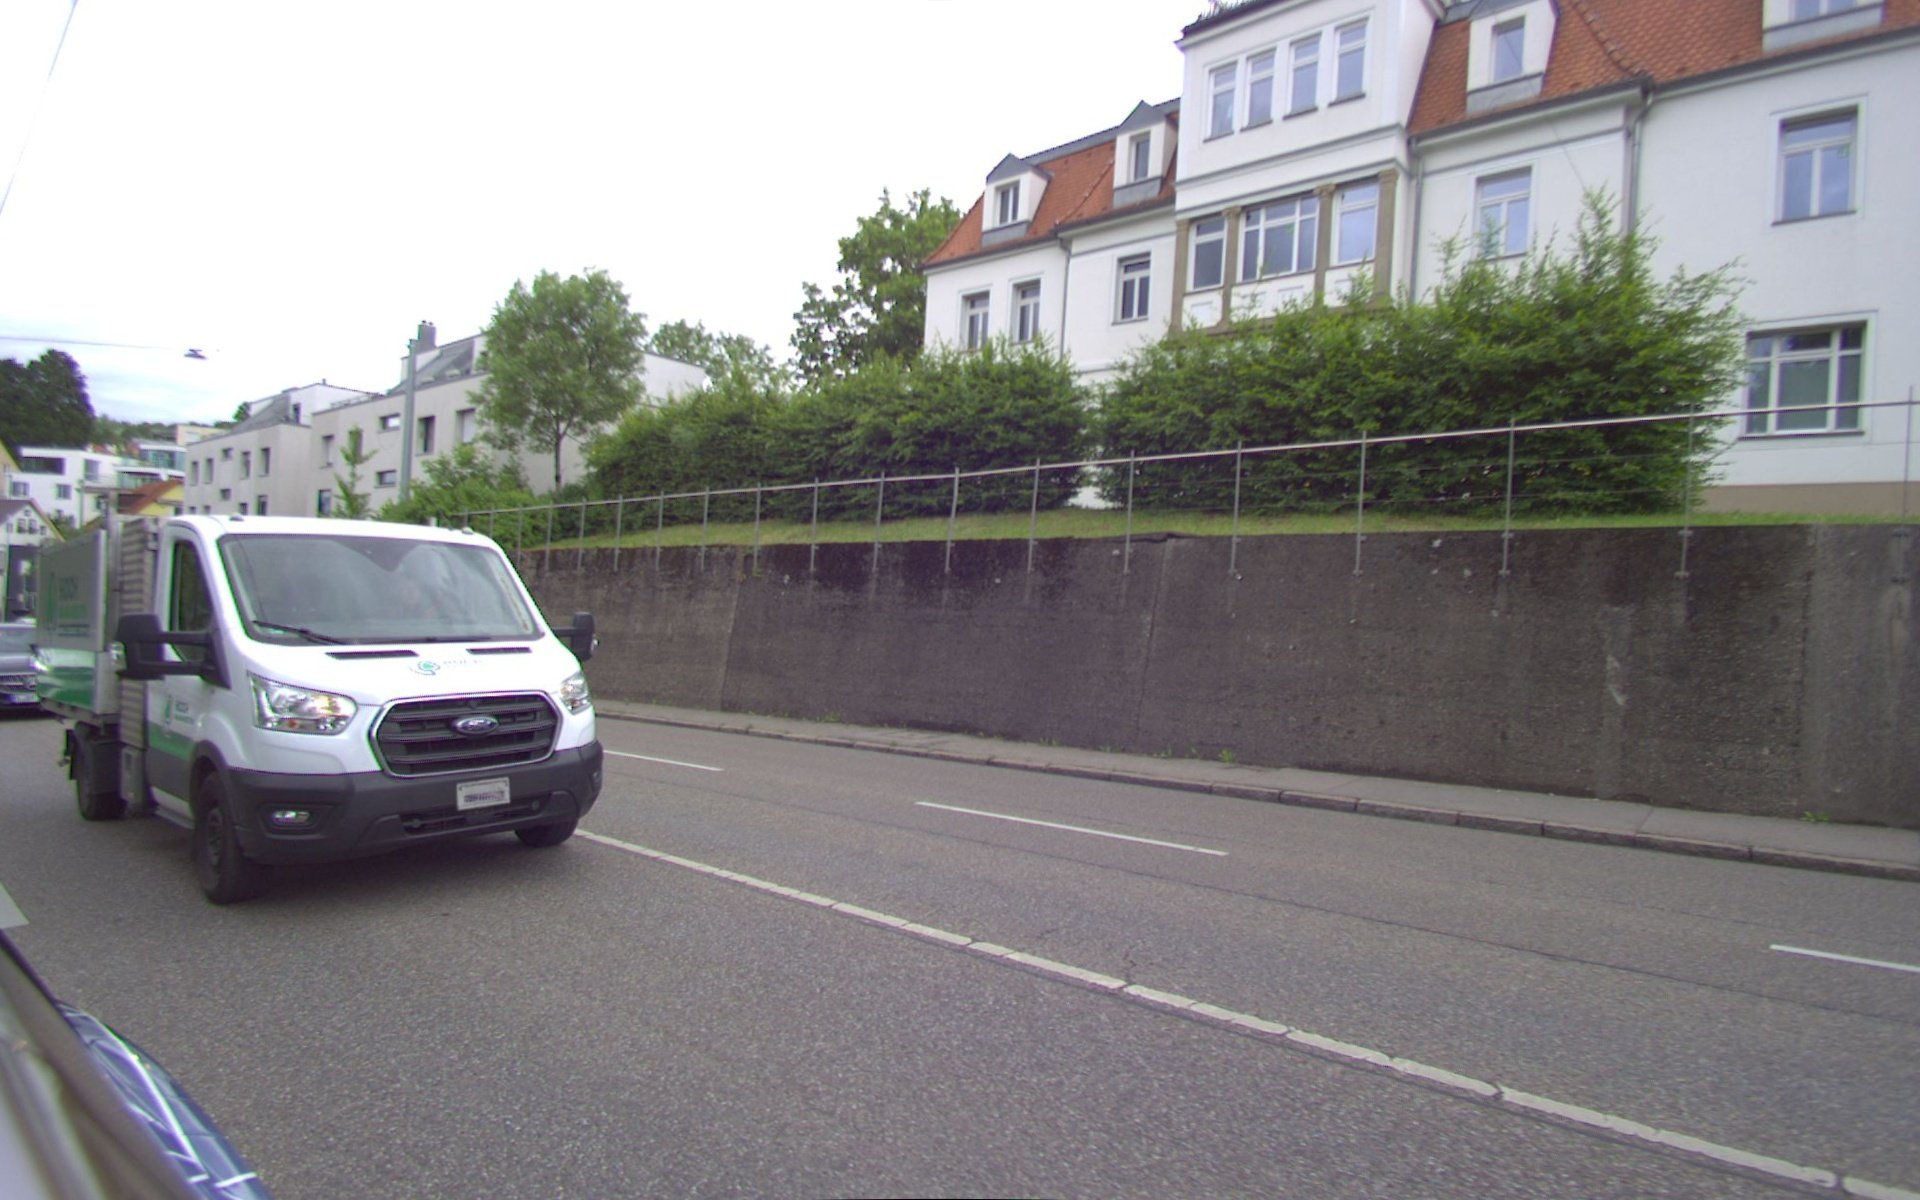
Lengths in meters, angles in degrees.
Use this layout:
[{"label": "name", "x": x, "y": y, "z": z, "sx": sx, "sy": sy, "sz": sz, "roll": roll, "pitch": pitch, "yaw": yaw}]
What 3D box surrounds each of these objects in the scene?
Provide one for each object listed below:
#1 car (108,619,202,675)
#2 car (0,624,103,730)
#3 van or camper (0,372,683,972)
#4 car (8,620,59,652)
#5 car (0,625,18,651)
[{"label": "car", "x": -28.611, "y": 1.659, "z": 35.936, "sx": 4.206, "sy": 1.856, "sz": 1.812, "roll": -1, "pitch": -4, "yaw": 41}, {"label": "car", "x": -15.532, "y": 1.171, "z": 16.418, "sx": 4.333, "sy": 1.542, "sz": 1.854, "roll": -1, "pitch": -2, "yaw": 41}, {"label": "van or camper", "x": -4.783, "y": 0.359, "z": 7.311, "sx": 5.957, "sy": 2.682, "sz": 2.320, "roll": -1, "pitch": -1, "yaw": 38}, {"label": "car", "x": -52.460, "y": 2.041, "z": 57.263, "sx": 3.866, "sy": 1.725, "sz": 1.687, "roll": -1, "pitch": -3, "yaw": 41}, {"label": "car", "x": -61.820, "y": 2.426, "z": 64.836, "sx": 3.741, "sy": 1.629, "sz": 1.720, "roll": -1, "pitch": -3, "yaw": 41}]
